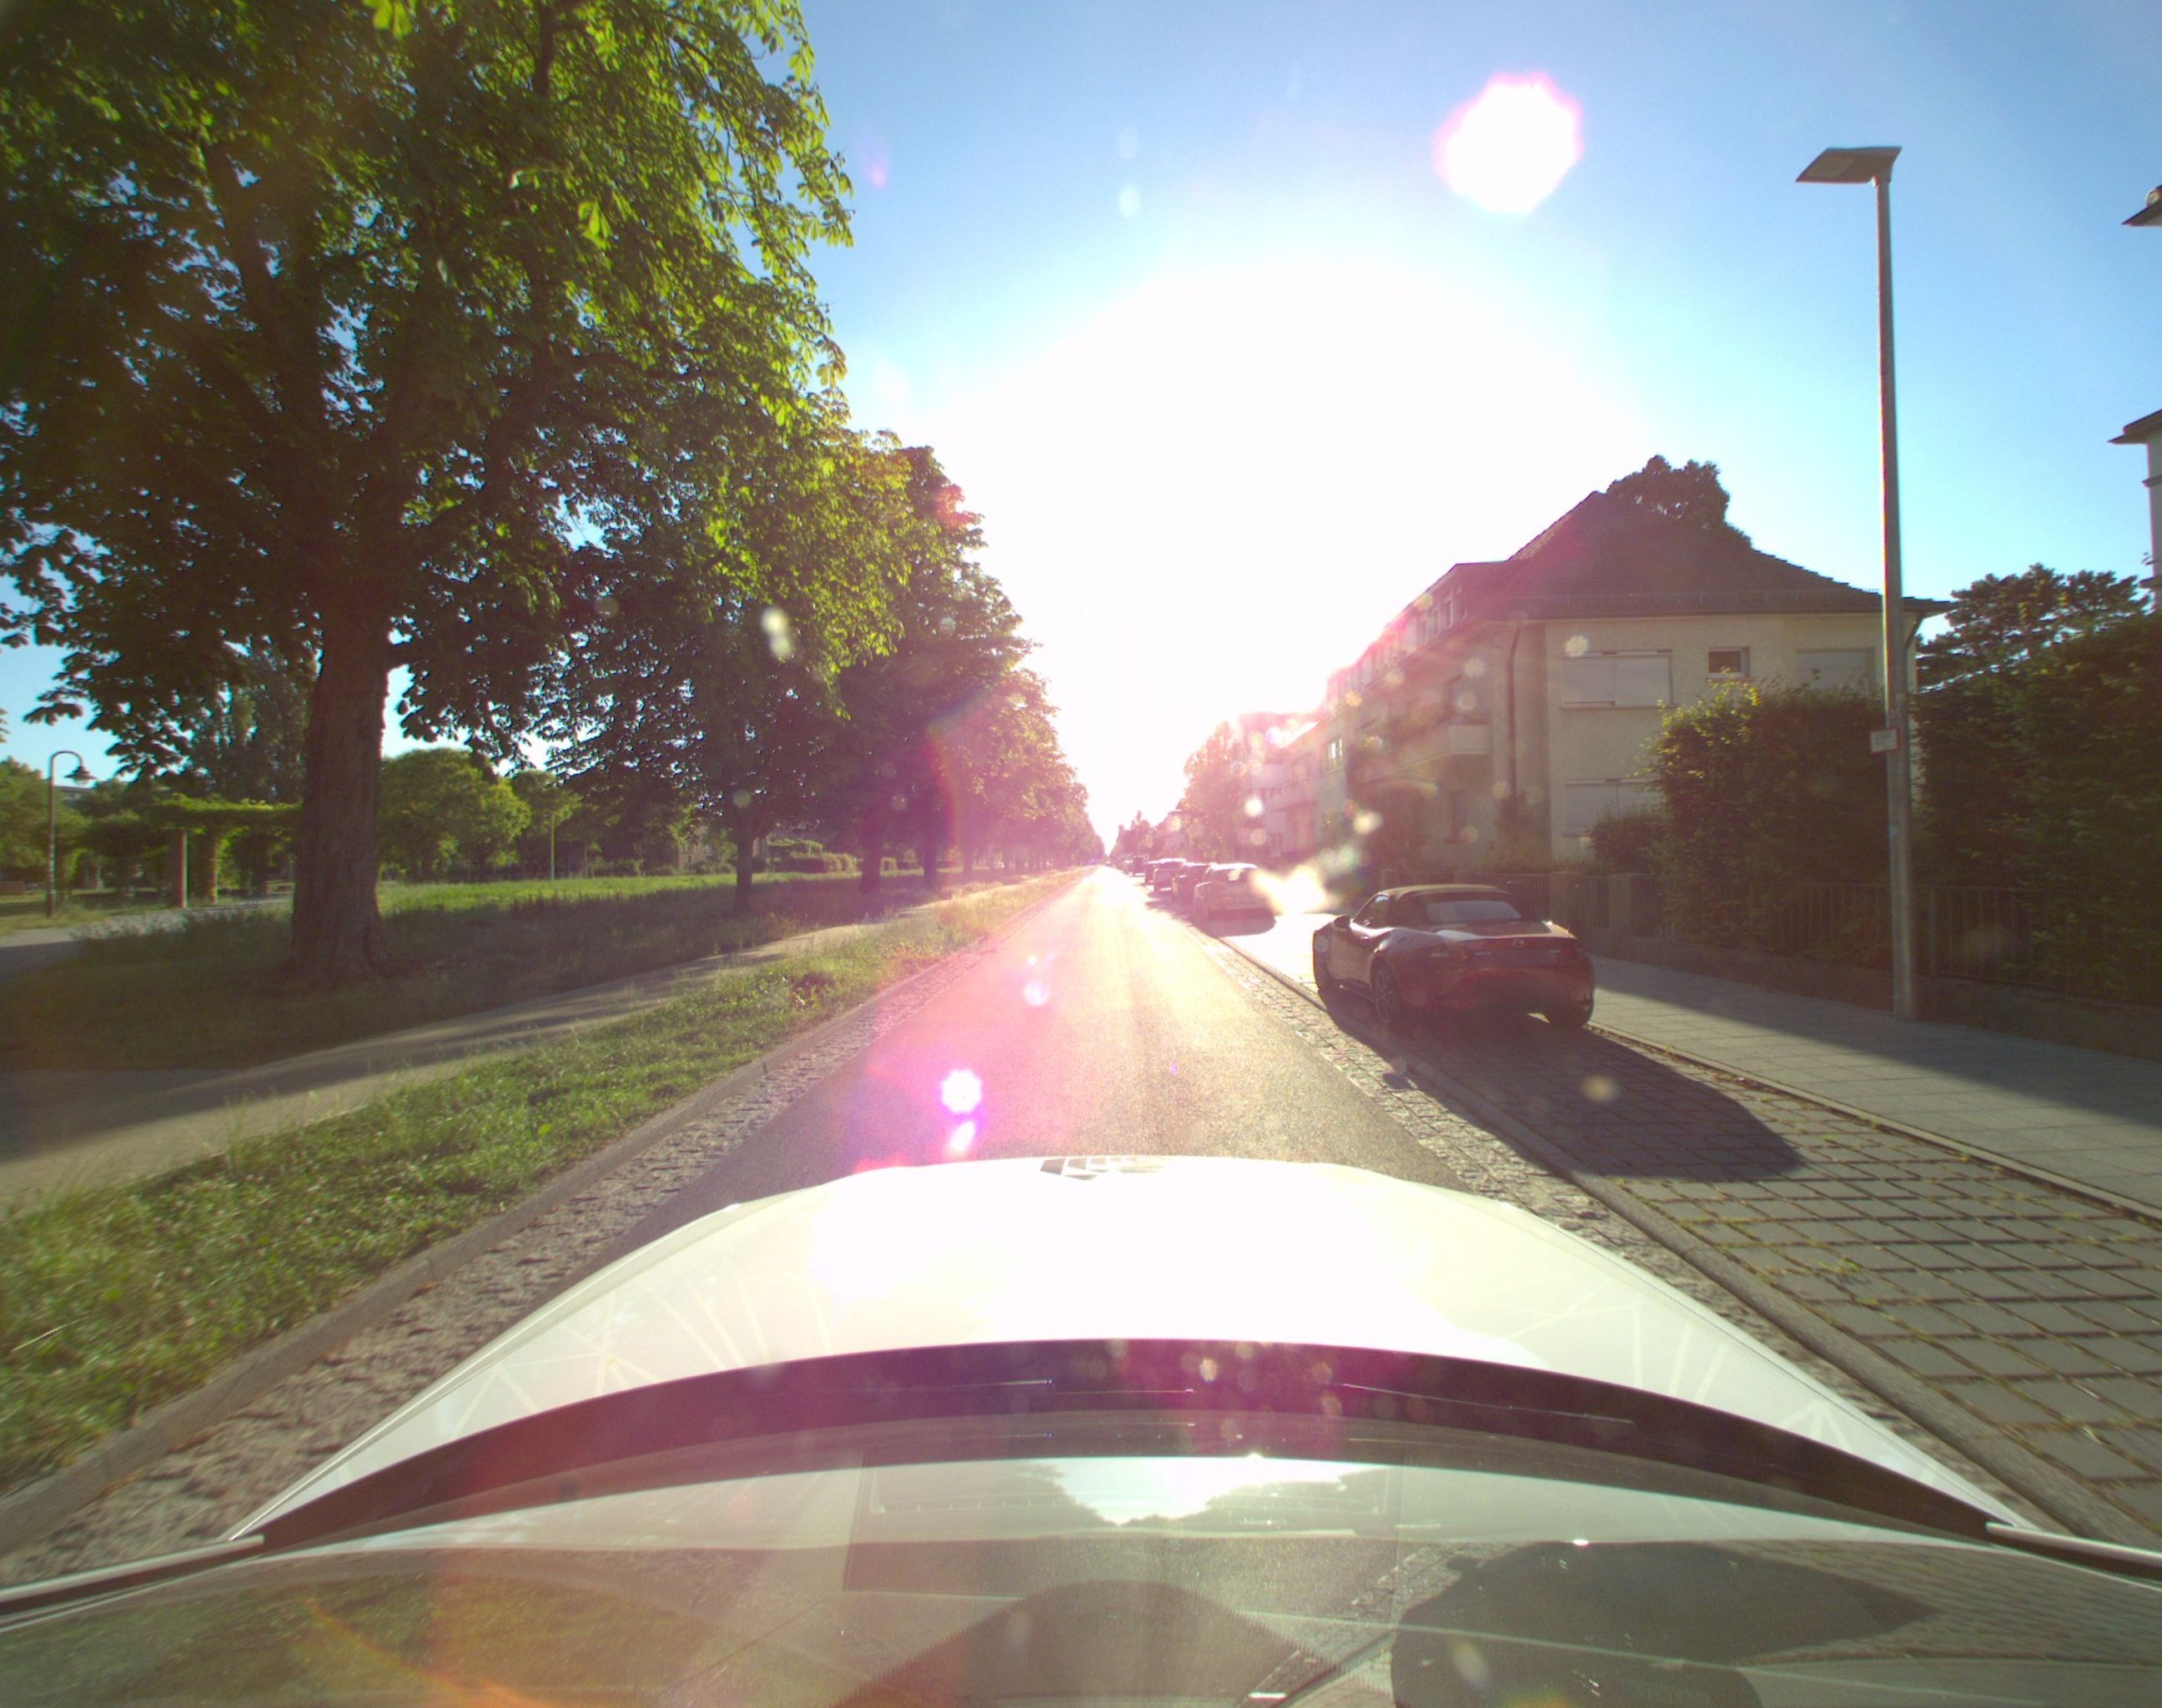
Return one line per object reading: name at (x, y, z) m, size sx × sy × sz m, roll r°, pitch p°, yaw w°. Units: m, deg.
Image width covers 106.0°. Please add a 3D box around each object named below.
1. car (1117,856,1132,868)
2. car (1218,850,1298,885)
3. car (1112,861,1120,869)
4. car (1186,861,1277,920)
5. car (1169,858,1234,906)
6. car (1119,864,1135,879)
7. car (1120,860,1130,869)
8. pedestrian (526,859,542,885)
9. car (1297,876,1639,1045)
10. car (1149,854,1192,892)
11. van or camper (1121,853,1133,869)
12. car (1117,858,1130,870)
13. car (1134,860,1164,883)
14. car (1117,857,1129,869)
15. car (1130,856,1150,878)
car at (5.956, 1.107, 112.795) m, size 1.713 × 1.574 × 4.207 m, roll -3°, pitch -1°, yaw -2°
car at (9.671, 0.710, 44.736) m, size 3.975 × 1.845 × 1.813 m, roll 1°, pitch 0°, yaw -4°
car at (7.461, 2.293, 171.803) m, size 1.643 × 1.530 × 3.854 m, roll -2°, pitch -1°, yaw 3°
car at (4.011, 0.927, 22.295) m, size 1.787 × 1.380 × 4.080 m, roll -3°, pitch -1°, yaw 2°
car at (4.235, 0.944, 29.197) m, size 1.787 × 1.494 × 4.195 m, roll -3°, pitch -1°, yaw 2°
car at (5.775, 2.228, 102.470) m, size 1.787 × 1.771 × 4.474 m, roll -3°, pitch -1°, yaw 2°
car at (7.650, 1.806, 141.511) m, size 1.657 × 1.593 × 4.087 m, roll 0°, pitch -1°, yaw 2°
pedestrian at (-36.815, 1.200, 54.788) m, size 0.779 × 1.724 × 0.710 m, roll 1°, pitch -2°, yaw -27°
car at (3.513, 0.876, 8.259) m, size 1.692 × 1.257 × 3.881 m, roll -1°, pitch -1°, yaw 2°
car at (4.436, 0.960, 40.910) m, size 1.897 × 1.708 × 4.580 m, roll -3°, pitch -2°, yaw 4°
van or camper at (8.334, 1.309, 147.811) m, size 1.936 × 2.778 × 5.942 m, roll 0°, pitch -2°, yaw 2°
car at (6.204, 1.520, 119.918) m, size 1.825 × 1.685 × 4.417 m, roll 1°, pitch 0°, yaw 2°
car at (4.635, 1.171, 56.213) m, size 1.787 × 1.482 × 4.125 m, roll -3°, pitch -1°, yaw 2°
car at (9.174, 2.050, 178.136) m, size 2.119 × 2.533 × 5.187 m, roll -2°, pitch -1°, yaw 0°
car at (6.247, 1.359, 86.242) m, size 1.898 × 2.132 × 4.817 m, roll -3°, pitch -1°, yaw 3°
